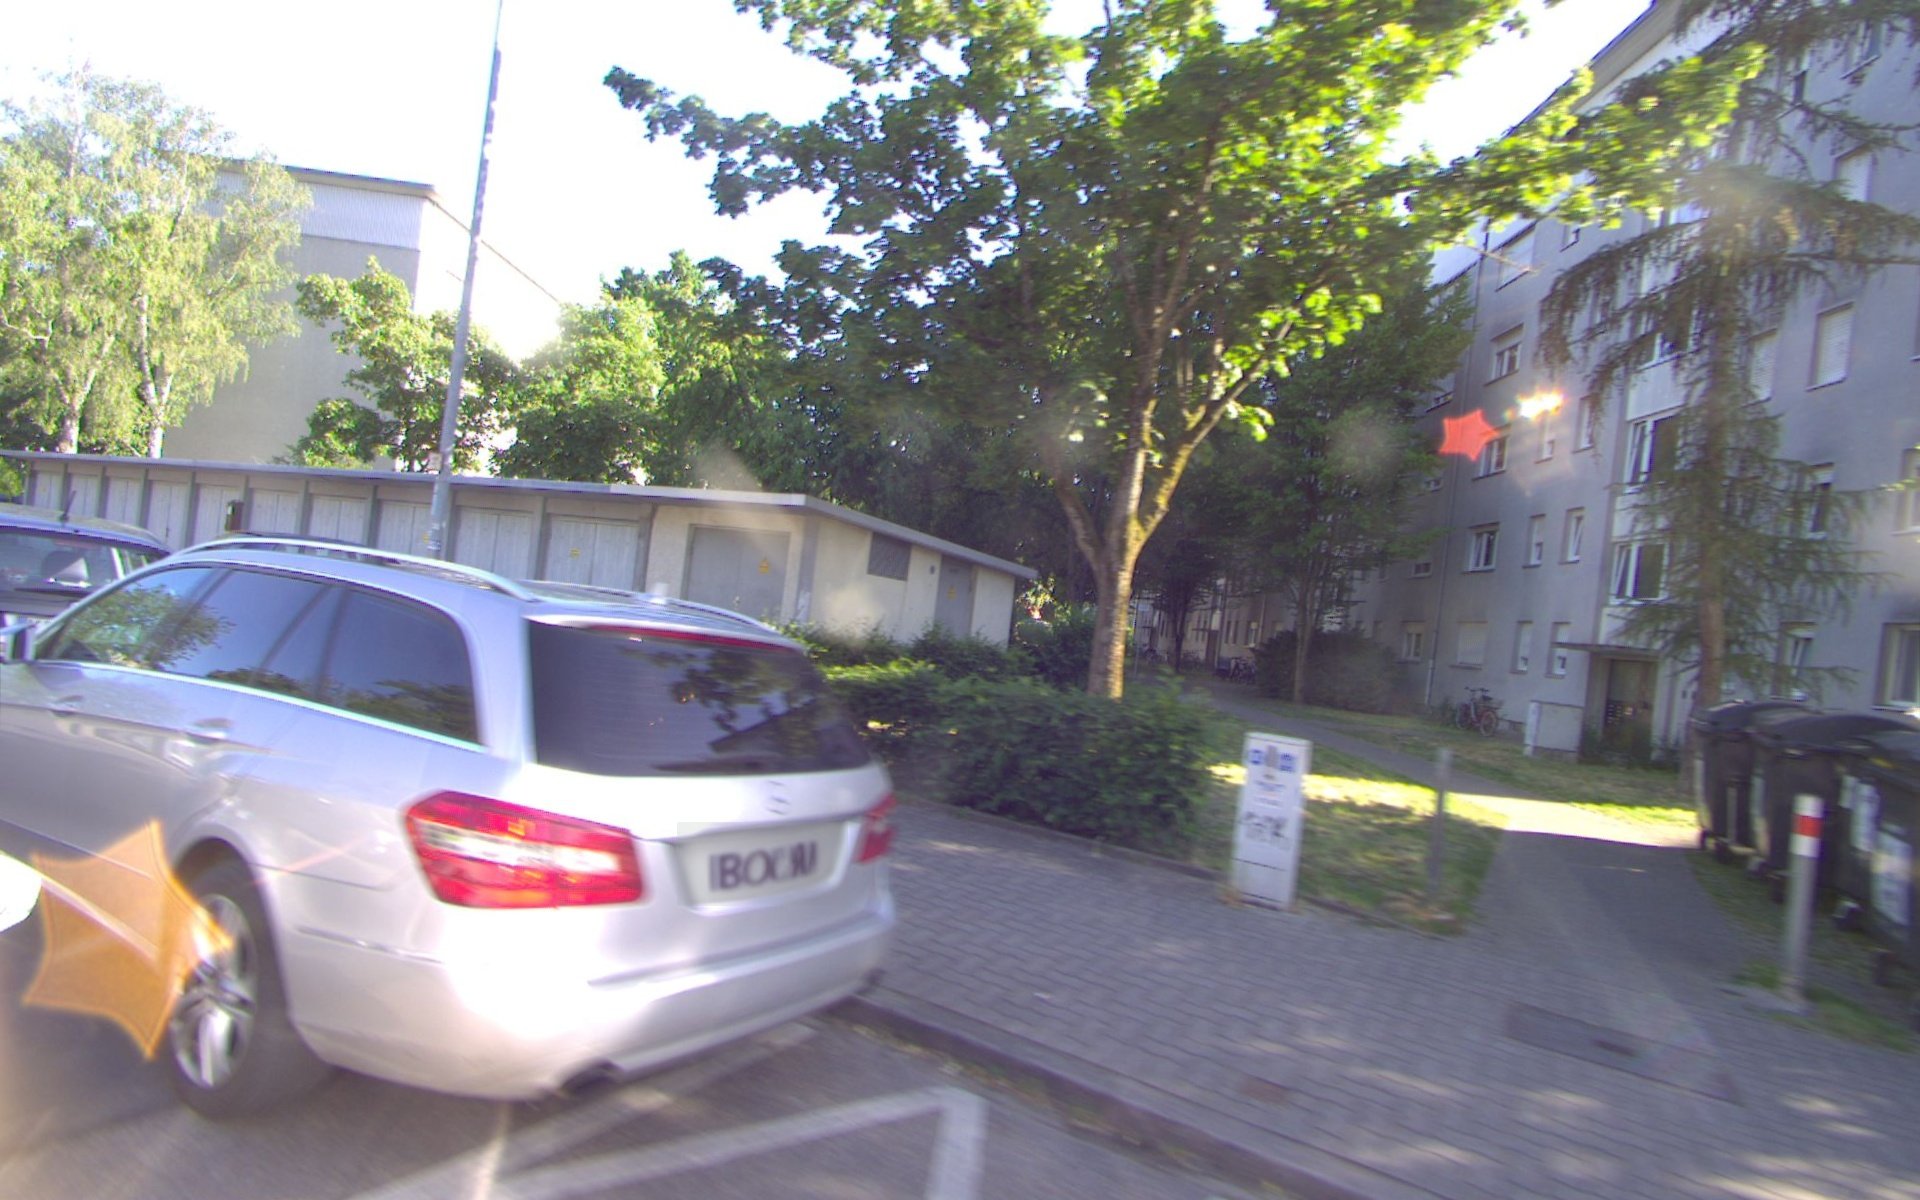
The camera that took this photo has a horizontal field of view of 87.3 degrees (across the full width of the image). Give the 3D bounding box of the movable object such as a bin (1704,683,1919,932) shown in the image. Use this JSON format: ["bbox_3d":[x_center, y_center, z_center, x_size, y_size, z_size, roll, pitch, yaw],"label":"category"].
[{"bbox_3d":[6.426,1.464,7.518,1.011,1.555,1.328,7,-1,25],"label":"movable object such as a bin"}]

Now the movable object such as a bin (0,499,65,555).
[{"bbox_3d":[-29.705,-2.322,32.173,1.115,1.484,1.277,11,2,35],"label":"movable object such as a bin"}]

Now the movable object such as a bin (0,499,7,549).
[{"bbox_3d":[-30.510,-2.451,31.045,1.115,1.484,1.277,11,2,35],"label":"movable object such as a bin"}]

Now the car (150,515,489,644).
[{"bbox_3d":[-10.122,-0.237,16.272,1.786,1.512,4.193,6,-2,28],"label":"car"}]

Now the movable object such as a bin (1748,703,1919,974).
[{"bbox_3d":[5.802,1.442,6.256,1.011,1.448,1.328,7,-1,25],"label":"movable object such as a bin"}]

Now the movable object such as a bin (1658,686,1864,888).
[{"bbox_3d":[7.024,1.579,8.926,1.011,1.498,1.326,7,-1,25],"label":"movable object such as a bin"}]

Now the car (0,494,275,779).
[{"bbox_3d":[-6.467,0.062,6.617,3.733,1.512,1.807,6,-1,33],"label":"car"}]

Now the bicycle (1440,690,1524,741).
[{"bbox_3d":[11.895,2.609,23.018,0.537,0.853,2.416,7,0,0],"label":"bicycle"}]

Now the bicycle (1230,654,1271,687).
[{"bbox_3d":[11.413,2.783,39.508,0.593,1.126,1.973,5,-3,44],"label":"bicycle"}]

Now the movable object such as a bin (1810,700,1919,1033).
[{"bbox_3d":[5.154,1.322,4.939,1.051,1.447,1.326,7,2,25],"label":"movable object such as a bin"}]

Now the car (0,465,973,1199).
[{"bbox_3d":[-2.432,0.448,3.959,4.565,1.564,1.833,6,-1,33],"label":"car"}]
